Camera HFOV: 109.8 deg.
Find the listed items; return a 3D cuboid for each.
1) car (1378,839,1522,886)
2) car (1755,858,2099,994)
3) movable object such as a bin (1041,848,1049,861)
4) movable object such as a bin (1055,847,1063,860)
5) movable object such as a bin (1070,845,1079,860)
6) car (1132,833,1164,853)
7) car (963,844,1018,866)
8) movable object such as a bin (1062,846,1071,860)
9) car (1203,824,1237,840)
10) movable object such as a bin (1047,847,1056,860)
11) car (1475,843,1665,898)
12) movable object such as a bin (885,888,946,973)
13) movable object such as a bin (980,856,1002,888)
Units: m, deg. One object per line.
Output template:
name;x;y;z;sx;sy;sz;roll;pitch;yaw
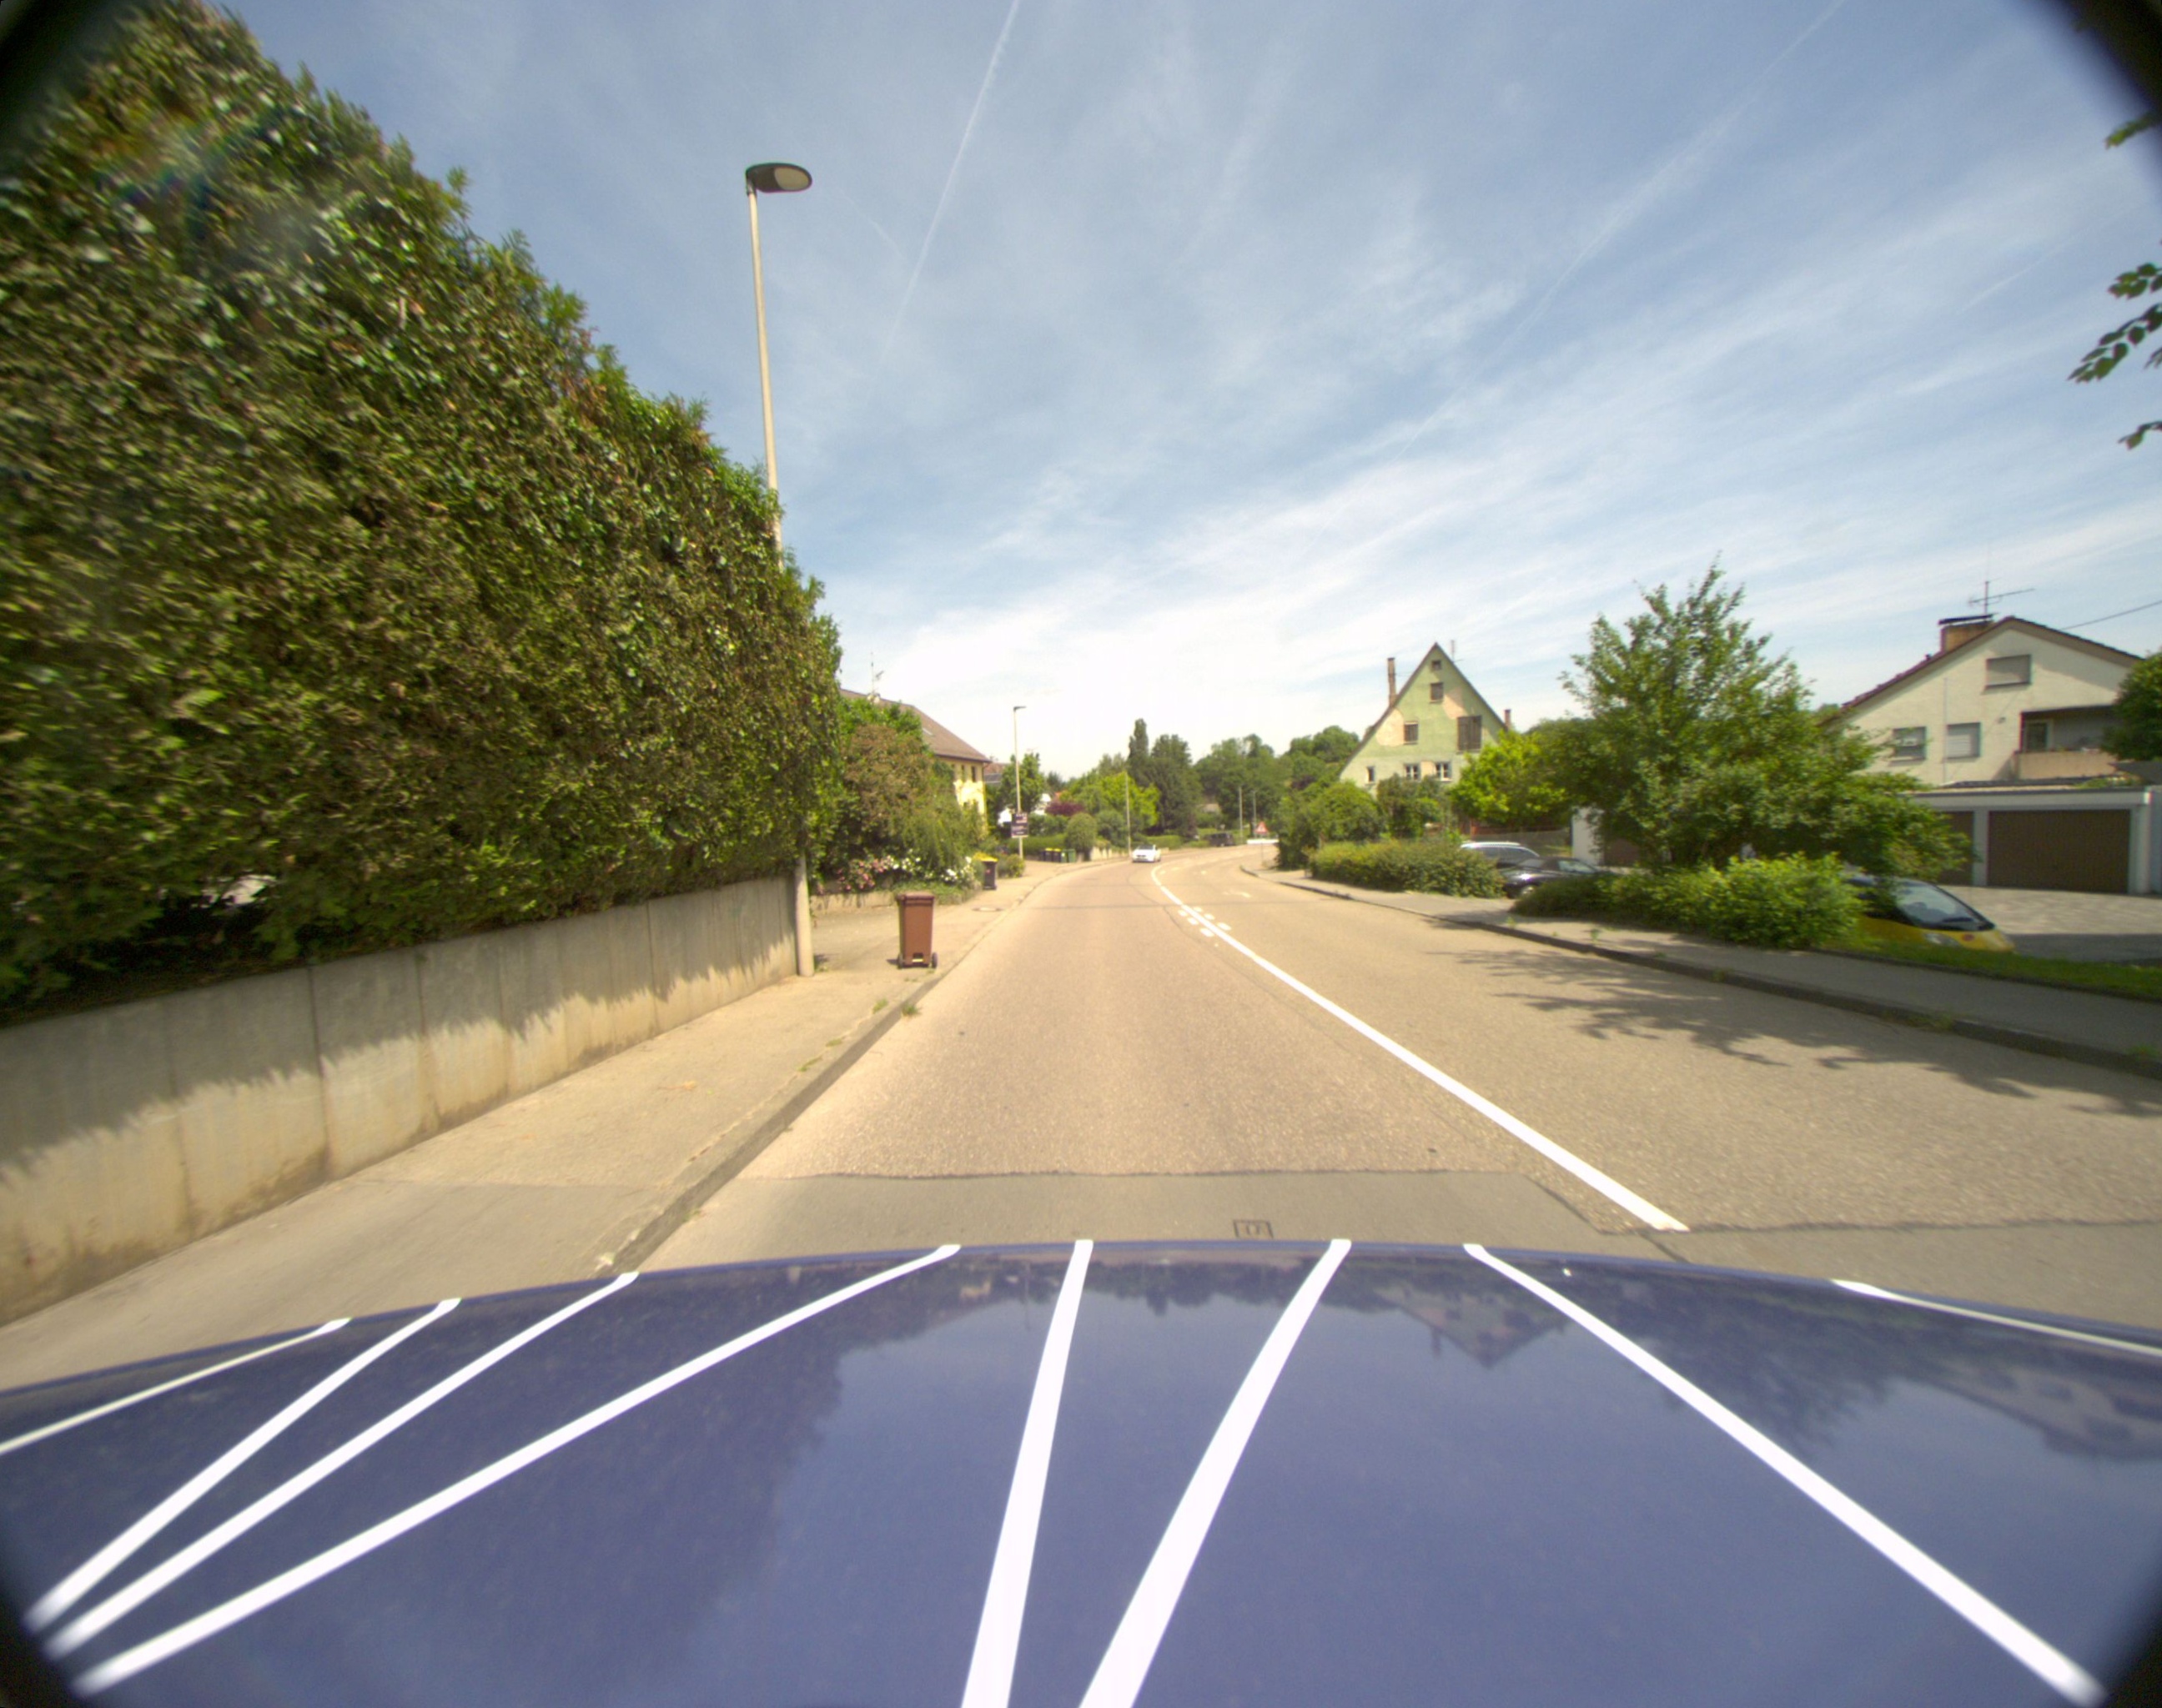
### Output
car;12.629;0.254;26.180;3.998;1.379;1.999;-2;2;-2
car;12.669;0.967;11.696;1.475;1.532;3.229;-2;4;-6
movable object such as a bin;-2.852;0.039;59.693;0.449;0.950;0.516;-3;2;18
movable object such as a bin;-1.702;-0.045;59.350;0.484;1.016;0.565;2;4;21
movable object such as a bin;-0.500;-0.097;58.921;0.485;1.101;0.565;2;3;14
car;5.560;-0.940;62.666;1.824;1.543;4.004;-1;2;18
car;-6.703;0.079;56.378;3.685;1.410;1.646;-3;1;18
movable object such as a bin;-1.135;-0.084;59.103;0.485;1.065;0.565;0;3;21
car;18.693;-2.983;102.066;3.900;1.939;1.959;-1;2;34
movable object such as a bin;-2.299;-0.044;59.553;0.485;1.016;0.565;-3;2;21
car;12.997;0.412;20.363;3.967;1.240;1.646;2;2;0
movable object such as a bin;-2.081;0.952;9.646;0.590;0.972;0.786;-1;2;0
movable object such as a bin;-3.112;0.614;26.261;0.589;1.053;0.919;-2;2;3
